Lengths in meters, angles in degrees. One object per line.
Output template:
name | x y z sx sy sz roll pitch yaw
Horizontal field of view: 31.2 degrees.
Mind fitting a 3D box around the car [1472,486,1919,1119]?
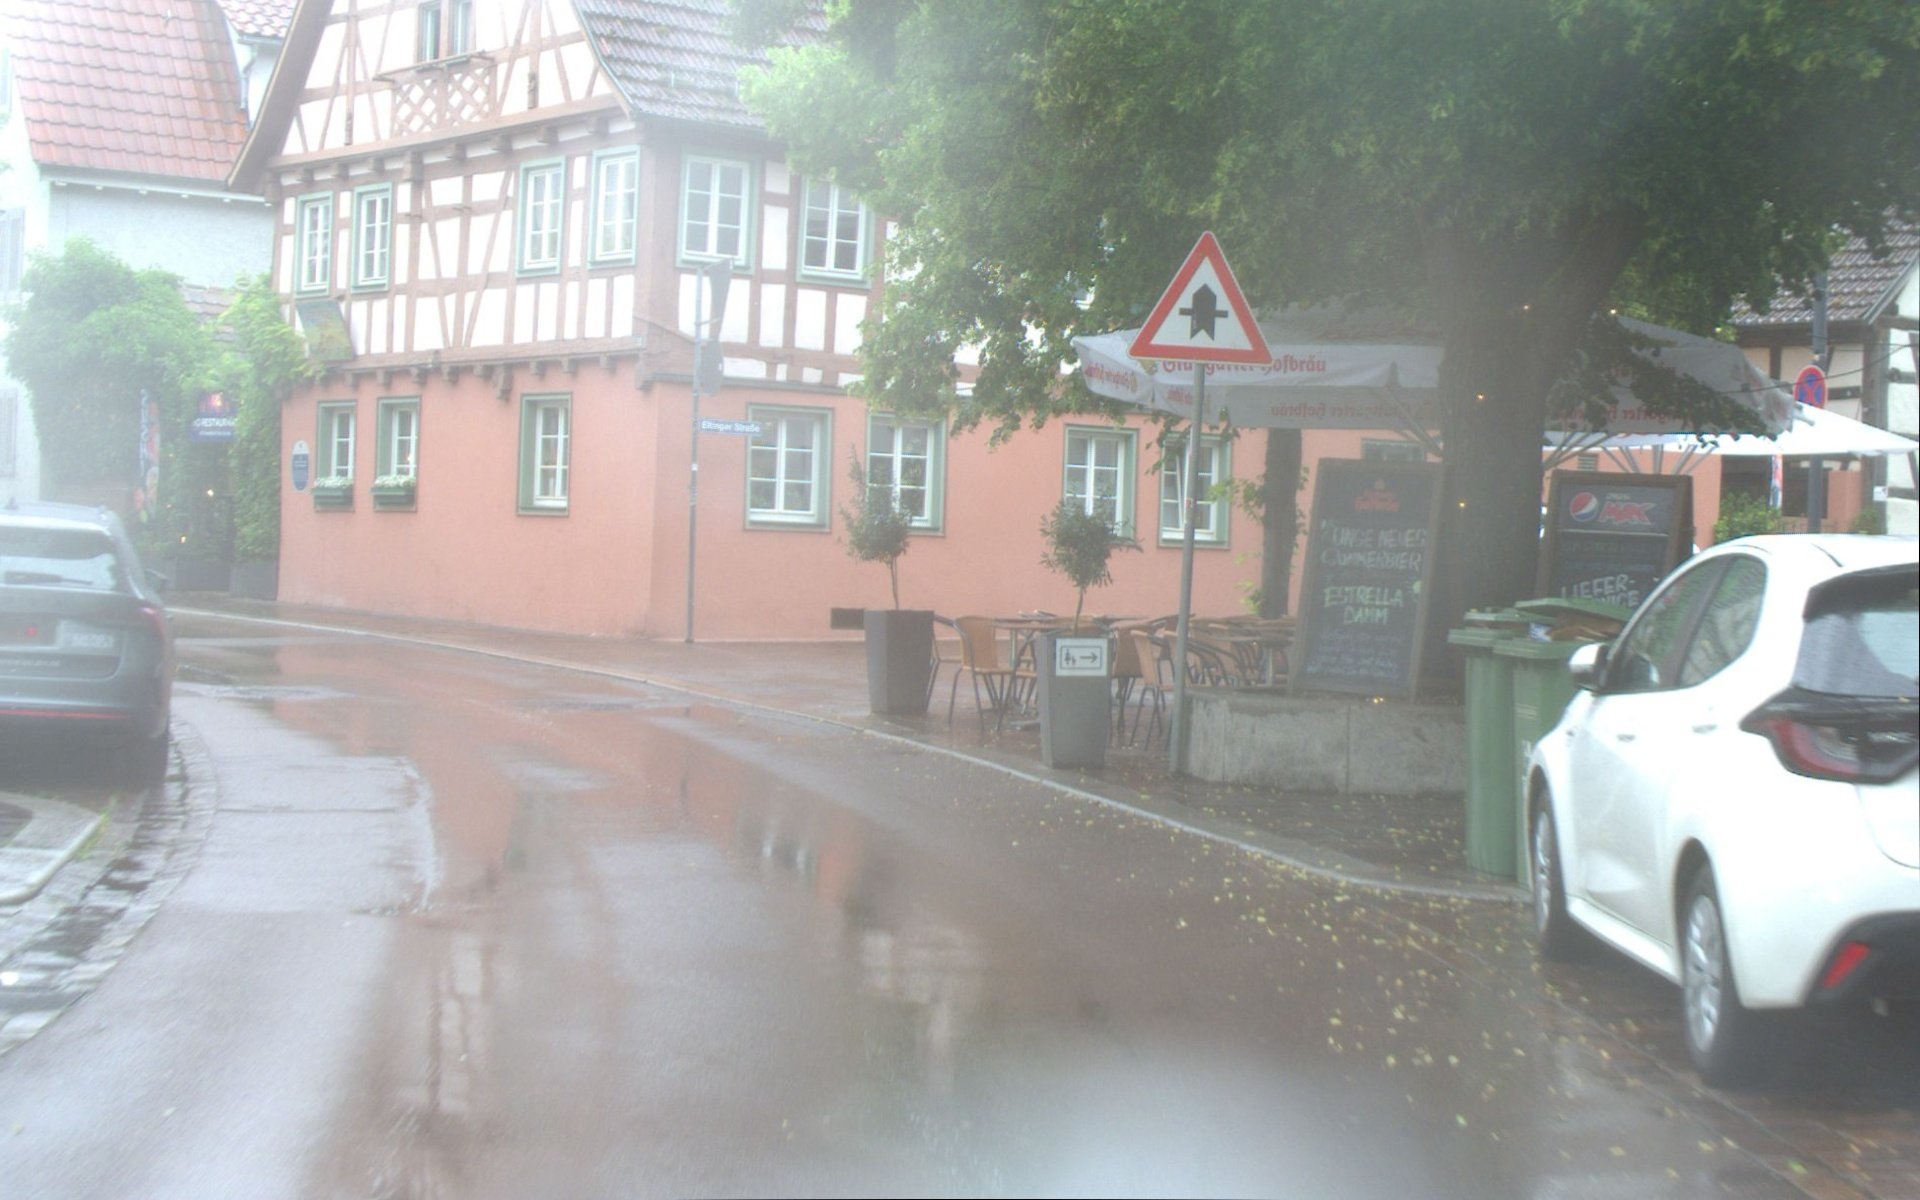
car | 2.808 0.484 10.459 1.787 1.550 3.950 2 1 -1

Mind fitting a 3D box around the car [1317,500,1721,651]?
car | 6.699 -0.283 41.017 4.601 1.627 2.000 0 4 -35

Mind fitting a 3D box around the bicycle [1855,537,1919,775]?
bicycle | 5.849 0.310 20.556 0.925 1.346 2.214 1 1 14

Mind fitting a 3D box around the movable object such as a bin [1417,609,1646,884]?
movable object such as a bin | 2.348 0.594 14.168 0.725 1.079 0.605 3 -1 -11

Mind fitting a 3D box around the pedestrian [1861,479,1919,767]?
pedestrian | 5.878 0.138 20.564 0.911 1.692 0.861 1 0 14

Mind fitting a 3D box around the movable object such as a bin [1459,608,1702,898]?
movable object such as a bin | 2.427 0.590 13.493 0.725 1.089 0.611 3 -1 -11

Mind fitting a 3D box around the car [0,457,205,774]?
car | -5.323 0.015 19.148 1.875 1.535 4.402 3 1 -16
